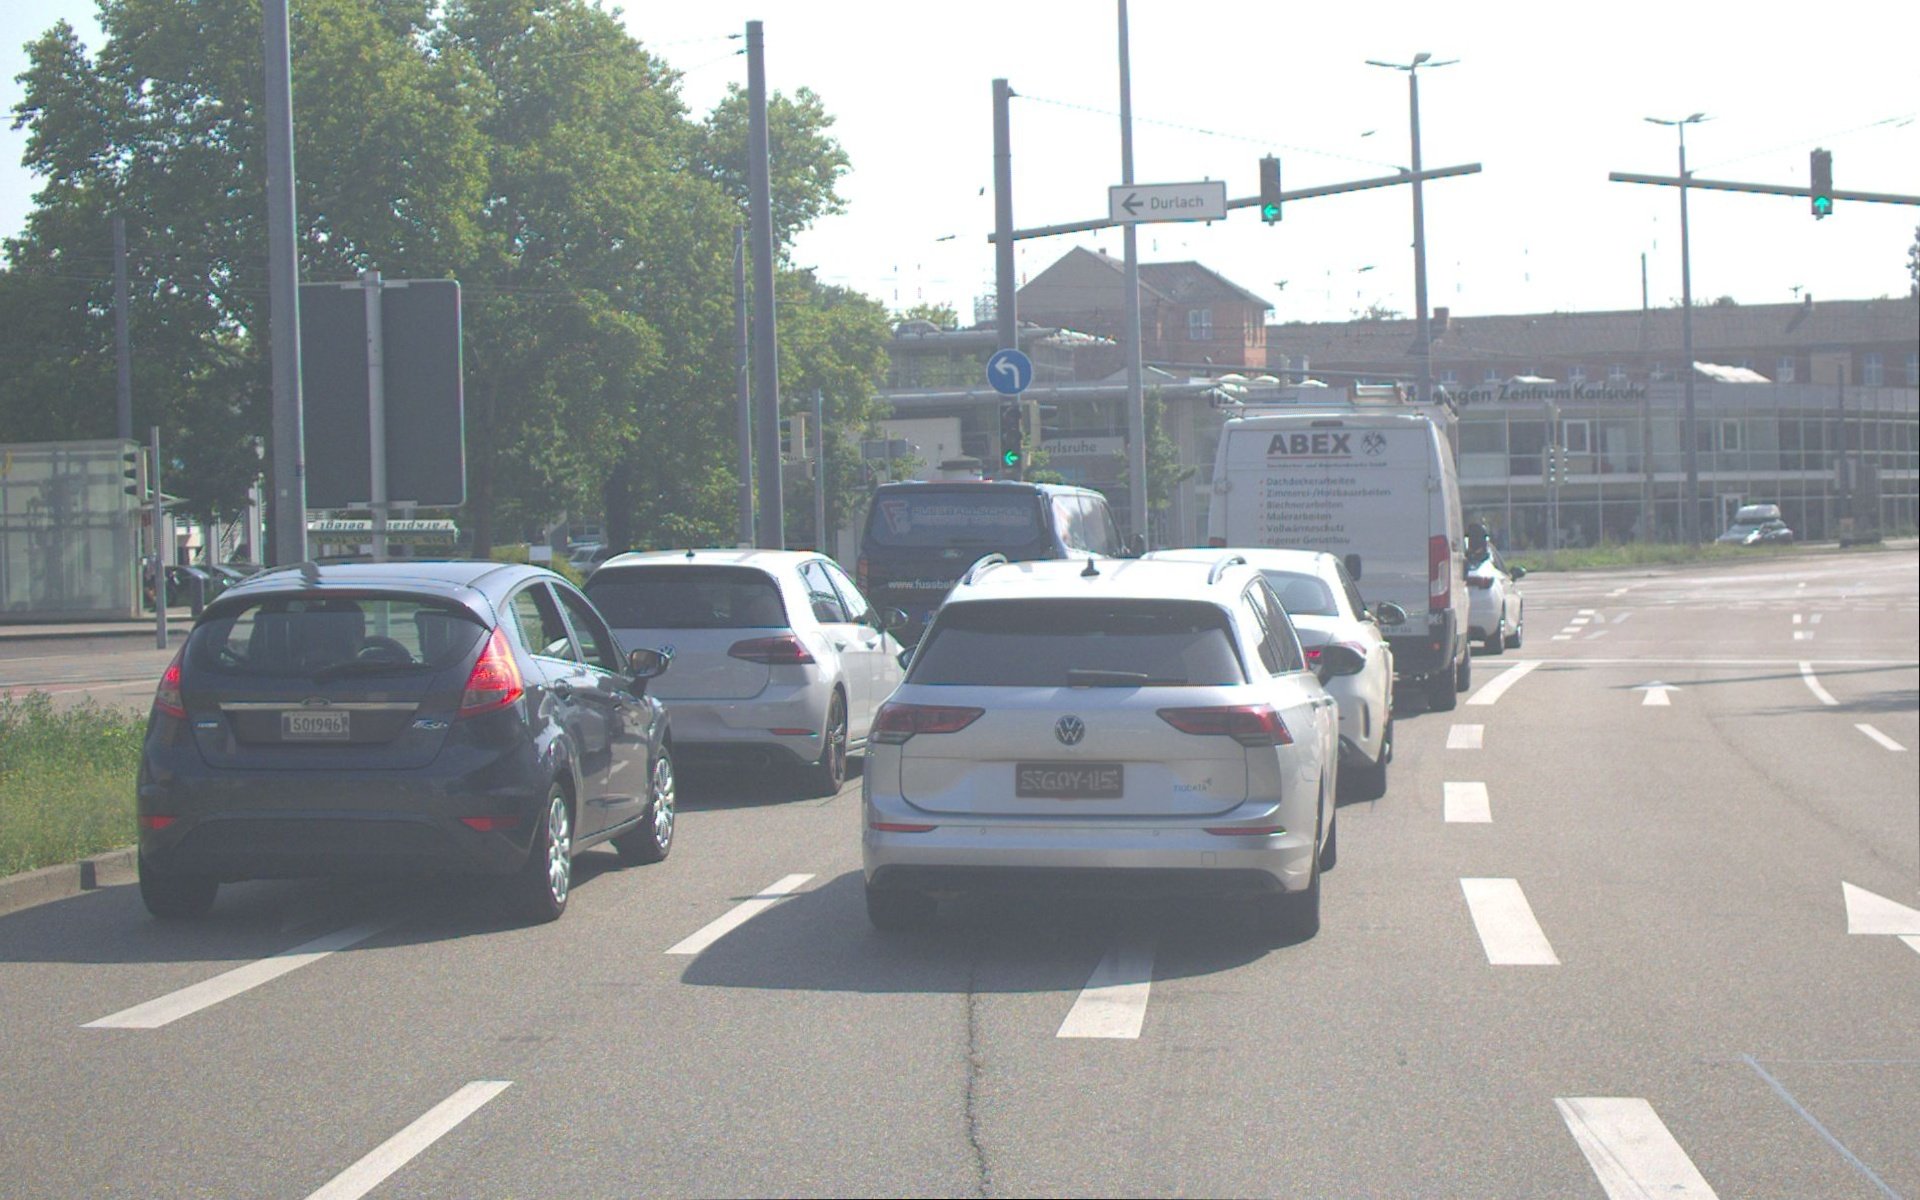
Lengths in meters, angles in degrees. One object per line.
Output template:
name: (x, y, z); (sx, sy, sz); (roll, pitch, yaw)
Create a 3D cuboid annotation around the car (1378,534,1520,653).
car: (6.177, -0.108, 43.196); (1.638, 1.398, 3.686); (-1, 1, 10)

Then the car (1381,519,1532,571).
car: (13.800, -1.539, 95.691); (3.966, 1.337, 1.930); (-1, 1, 3)

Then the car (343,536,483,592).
car: (-16.836, -1.123, 105.962); (3.987, 1.612, 1.813); (-1, 1, -1)

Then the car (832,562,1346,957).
car: (0.651, 0.549, 13.984); (1.685, 1.383, 3.633); (-1, 1, 8)

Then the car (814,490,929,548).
car: (-3.256, -3.001, 127.180); (3.988, 2.006, 2.000); (-1, 4, 6)

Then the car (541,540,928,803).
car: (-1.289, 0.376, 21.082); (1.490, 1.410, 3.646); (-1, 2, 11)

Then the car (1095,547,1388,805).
car: (1.776, 0.394, 20.742); (1.489, 1.398, 3.941); (-1, 1, 8)

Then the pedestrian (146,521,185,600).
pedestrian: (-20.466, -1.025, 88.566); (0.822, 2.007, 0.509); (-1, 1, -2)

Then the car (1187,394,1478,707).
car: (3.399, -0.427, 30.551); (2.189, 2.540, 4.681); (-1, 1, 11)

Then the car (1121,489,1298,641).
car: (3.551, -0.507, 48.157); (2.024, 2.001, 4.682); (-1, 1, 9)

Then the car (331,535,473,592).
car: (-16.866, -1.103, 103.972); (3.987, 1.612, 1.813); (-1, 1, -1)

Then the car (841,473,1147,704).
car: (0.416, -0.141, 32.368); (2.024, 2.001, 4.681); (-1, 1, 11)

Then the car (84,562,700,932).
car: (-2.307, 0.540, 15.001); (1.701, 1.363, 3.963); (-1, 1, 5)

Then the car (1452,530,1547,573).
car: (19.605, -1.780, 124.869); (1.997, 1.437, 3.993); (-1, 1, 32)

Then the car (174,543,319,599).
car: (-21.096, -0.855, 101.765); (3.986, 1.552, 1.728); (-1, 1, -5)

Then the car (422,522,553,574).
car: (-14.861, -1.640, 108.281); (3.986, 1.552, 1.728); (-1, 1, -5)

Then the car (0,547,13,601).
car: (-29.943, -0.728, 100.607); (3.986, 1.552, 1.869); (-1, 1, -5)
